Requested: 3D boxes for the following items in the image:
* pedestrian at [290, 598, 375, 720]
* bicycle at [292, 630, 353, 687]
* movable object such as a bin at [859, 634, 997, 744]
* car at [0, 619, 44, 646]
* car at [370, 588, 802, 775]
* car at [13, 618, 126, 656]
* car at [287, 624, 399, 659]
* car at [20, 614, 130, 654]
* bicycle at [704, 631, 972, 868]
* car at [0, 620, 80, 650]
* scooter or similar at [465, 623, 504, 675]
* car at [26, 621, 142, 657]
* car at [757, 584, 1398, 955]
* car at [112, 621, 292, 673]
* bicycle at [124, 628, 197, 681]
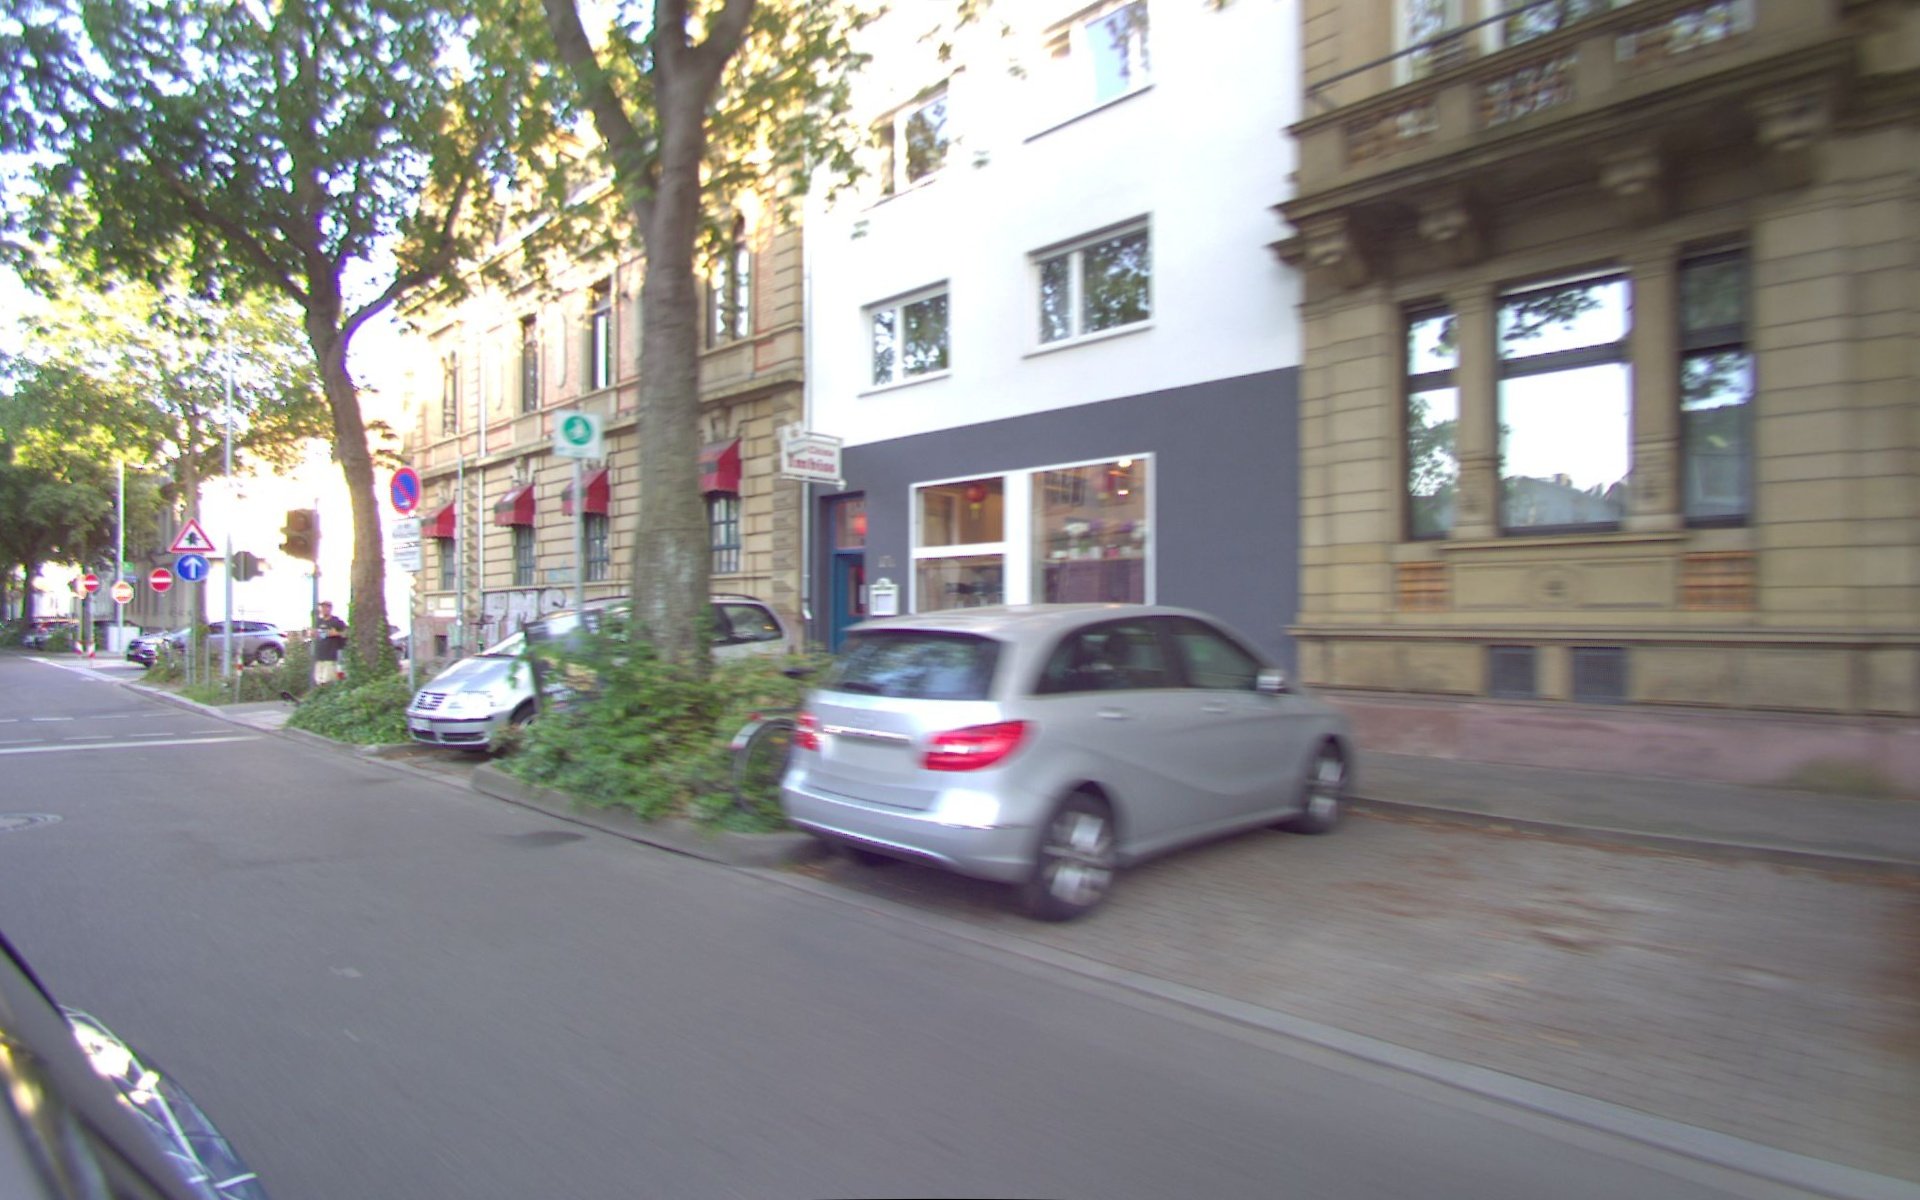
[{"bbox_3d":[-9.499,0.874,15.343,0.757,1.790,0.830,0,-1,5],"label":"pedestrian"},{"bbox_3d":[-13.356,1.202,21.187,1.797,1.116,0.494,-1,0,38],"label":"bicycle"},{"bbox_3d":[-0.354,0.908,10.753,1.317,1.070,0.766,-1,-2,43],"label":"movable object such as a bin"},{"bbox_3d":[-62.605,2.130,65.979,1.841,1.722,3.952,-1,-2,35],"label":"car"},{"bbox_3d":[-4.175,0.766,11.879,1.890,1.735,4.378,-1,0,41],"label":"car"},{"bbox_3d":[-44.736,1.820,50.931,1.796,1.825,3.952,-1,-2,35],"label":"car"},{"bbox_3d":[-28.489,1.894,46.893,4.197,1.542,1.839,1,-2,-22],"label":"car"},{"bbox_3d":[-46.244,1.758,52.948,1.996,1.966,3.952,-1,-2,35],"label":"car"},{"bbox_3d":[-0.761,0.892,6.799,0.773,1.336,1.777,-1,-1,37],"label":"bicycle"},{"bbox_3d":[-54.109,2.015,58.906,1.996,1.722,3.952,-1,-2,35],"label":"car"},{"bbox_3d":[-11.299,1.167,24.026,1.273,1.207,0.379,-4,-1,44],"label":"scooter or similar"},{"bbox_3d":[-42.587,1.860,49.263,1.796,1.682,3.952,-1,-2,35],"label":"car"},{"bbox_3d":[0.980,0.746,6.390,4.121,1.569,1.828,1,-1,-44],"label":"car"},{"bbox_3d":[-24.847,1.503,33.352,1.939,1.582,4.318,0,-1,28],"label":"car"},{"bbox_3d":[-20.365,1.366,25.832,0.793,1.234,2.425,-3,-1,-22],"label":"bicycle"}]
